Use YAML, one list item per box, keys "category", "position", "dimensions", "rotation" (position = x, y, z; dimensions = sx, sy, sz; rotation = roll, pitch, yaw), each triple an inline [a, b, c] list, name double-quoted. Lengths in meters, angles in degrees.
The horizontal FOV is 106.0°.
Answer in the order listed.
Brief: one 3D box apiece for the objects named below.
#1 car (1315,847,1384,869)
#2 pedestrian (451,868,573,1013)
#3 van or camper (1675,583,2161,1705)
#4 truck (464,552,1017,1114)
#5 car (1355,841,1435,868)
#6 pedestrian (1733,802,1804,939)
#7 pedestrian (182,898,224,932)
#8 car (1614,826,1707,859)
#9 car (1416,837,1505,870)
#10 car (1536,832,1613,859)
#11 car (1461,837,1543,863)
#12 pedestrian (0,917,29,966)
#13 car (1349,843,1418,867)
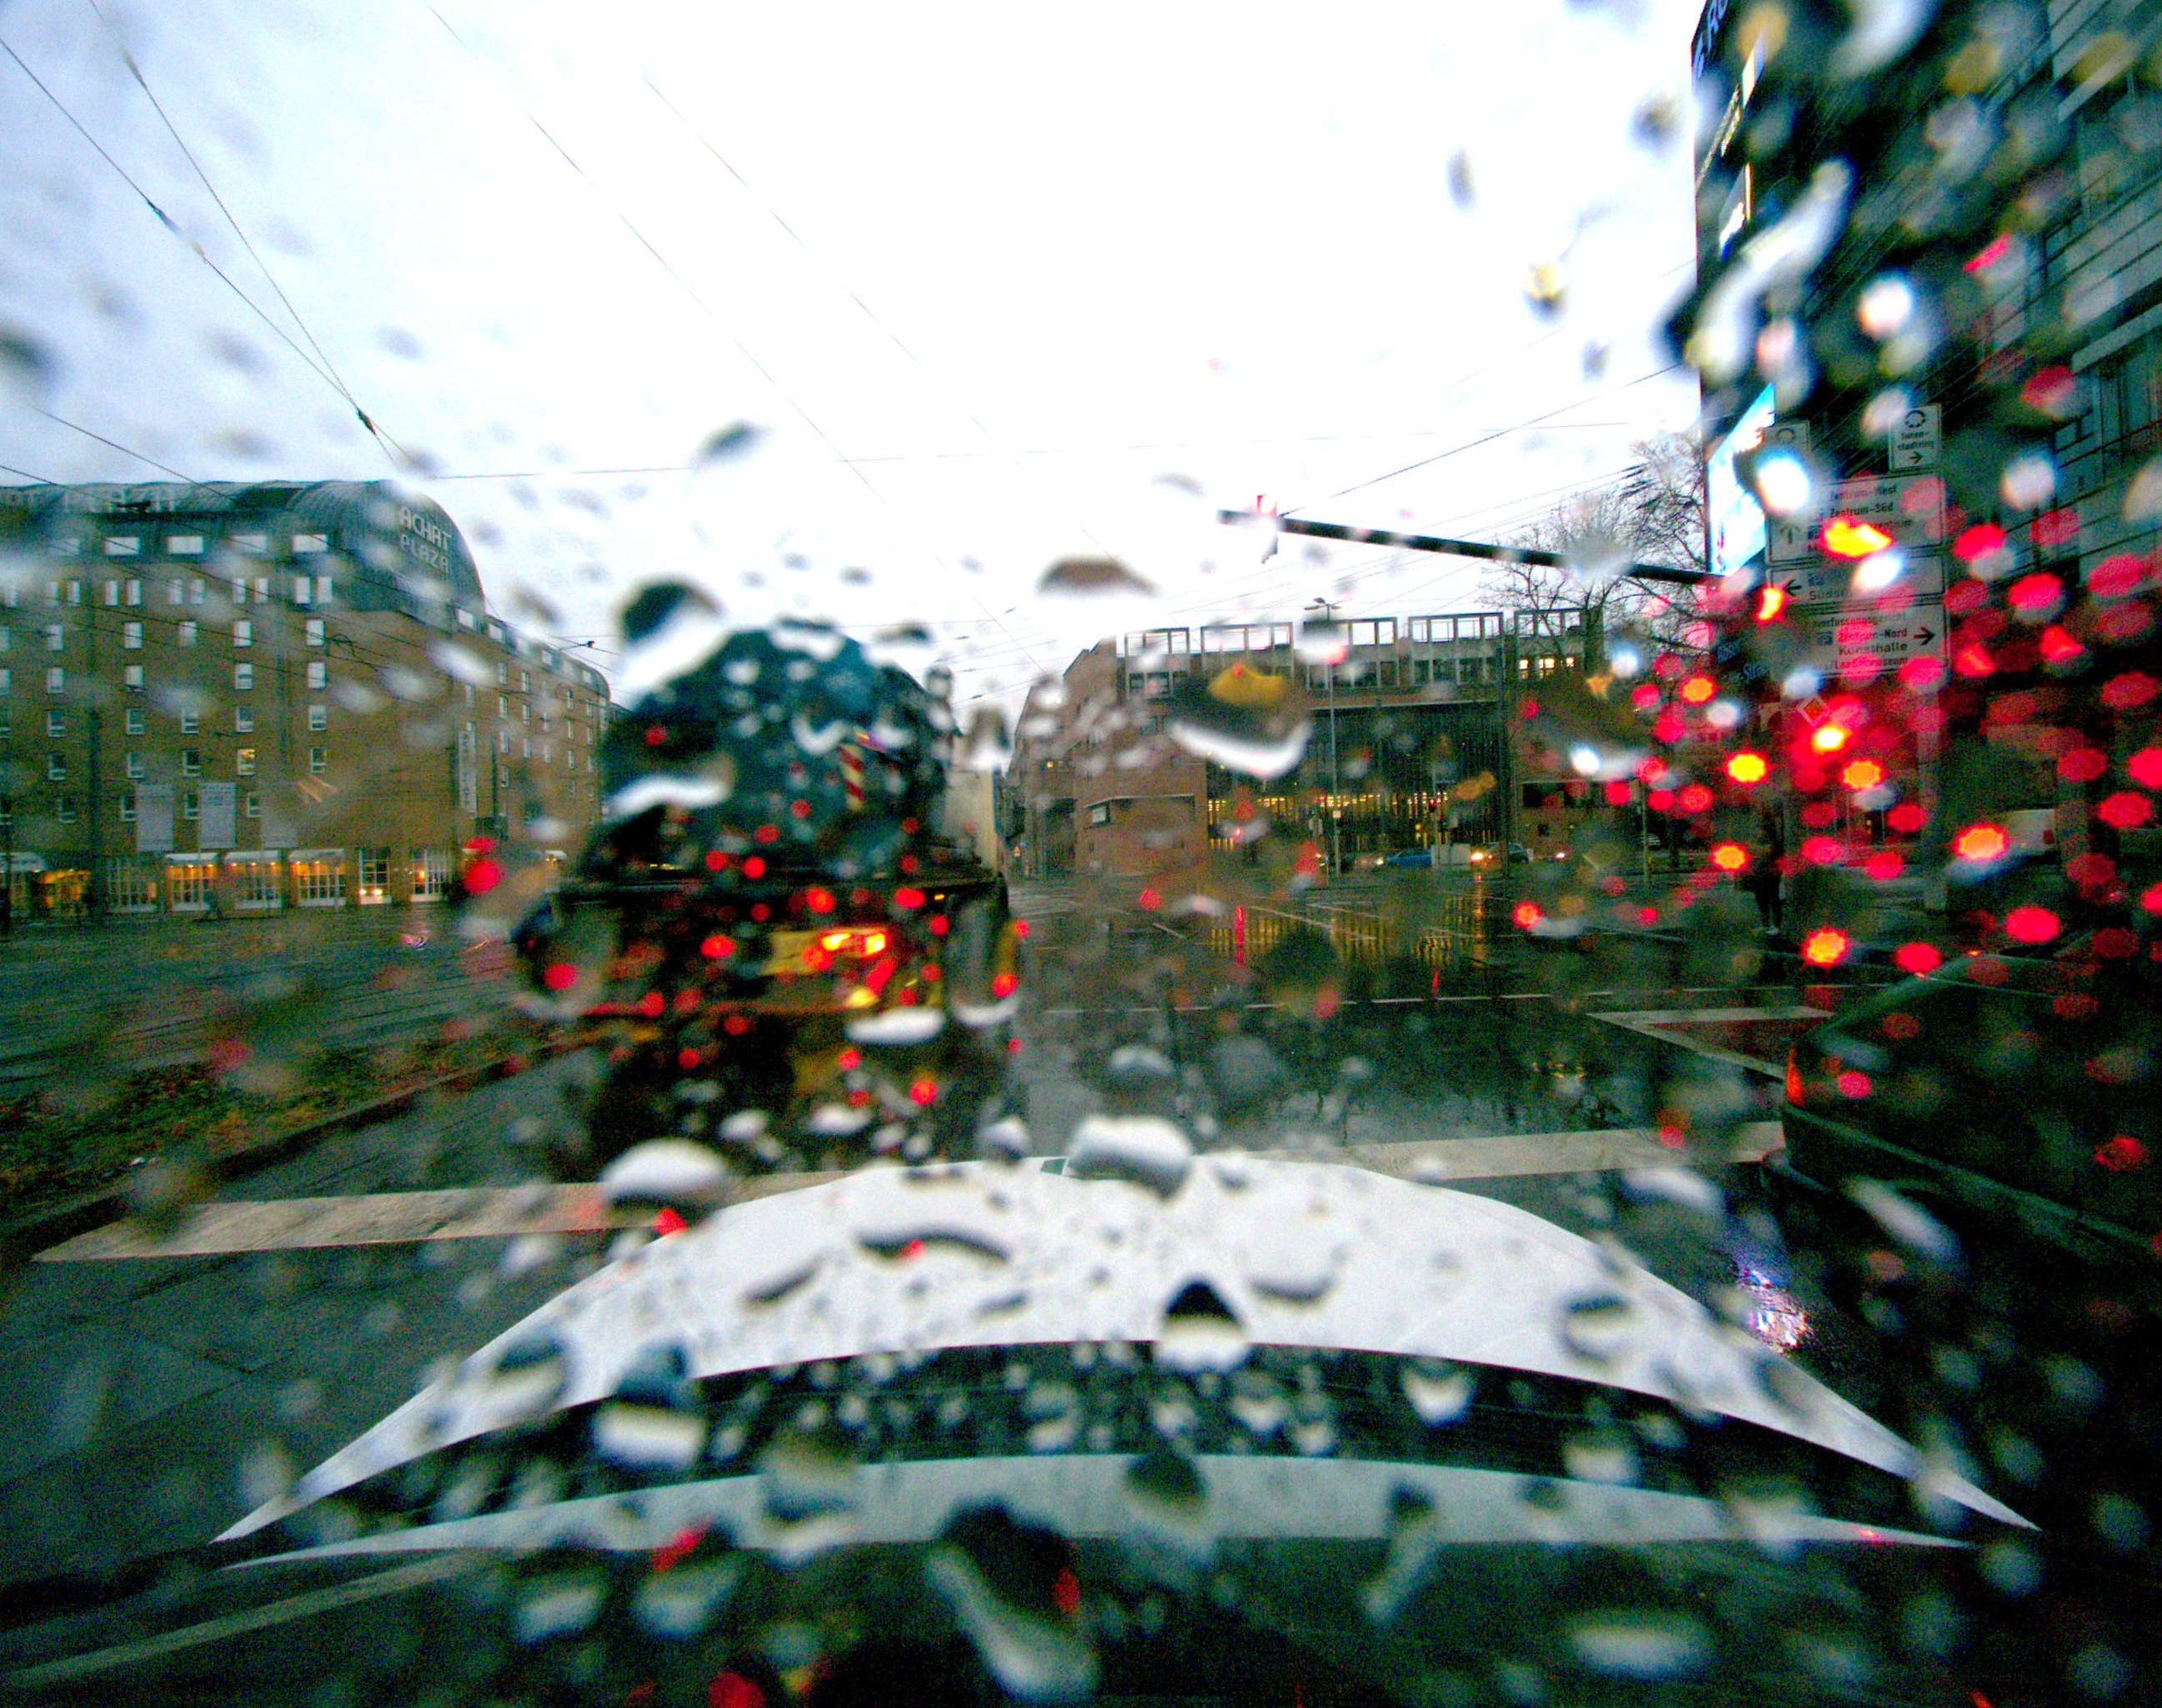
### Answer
- category: "car"
  position: [18.246, 0.290, 55.465]
  dimensions: [3.977, 1.310, 1.998]
  rotation: [-2, 0, -2]
- category: "pedestrian"
  position: [-6.917, 1.008, 9.906]
  dimensions: [0.707, 1.601, 1.043]
  rotation: [-5, -2, 45]
- category: "van or camper"
  position: [2.673, 0.487, 0.320]
  dimensions: [1.750, 1.906, 4.420]
  rotation: [-1, 0, 2]
- category: "truck"
  position: [-2.555, -0.137, 9.153]
  dimensions: [2.829, 3.633, 7.527]
  rotation: [-2, 0, 1]
- category: "car"
  position: [18.312, 0.013, 47.546]
  dimensions: [3.979, 1.263, 1.845]
  rotation: [-2, 4, -4]
- category: "pedestrian"
  position: [11.289, 0.261, 13.391]
  dimensions: [0.574, 2.184, 0.619]
  rotation: [-1, -1, -4]
- category: "pedestrian"
  position: [-46.413, 3.195, 43.052]
  dimensions: [1.164, 1.678, 0.893]
  rotation: [-2, -1, -17]
- category: "car"
  position: [32.247, -0.654, 45.350]
  dimensions: [3.979, 1.600, 1.845]
  rotation: [-2, 4, -4]
- category: "car"
  position: [20.433, -0.059, 43.913]
  dimensions: [3.979, 1.504, 1.845]
  rotation: [-2, 4, -4]
- category: "car"
  position: [32.159, -0.578, 53.094]
  dimensions: [3.979, 1.504, 1.845]
  rotation: [-2, 4, -4]
- category: "car"
  position: [24.819, -0.256, 48.099]
  dimensions: [3.979, 1.288, 1.845]
  rotation: [-2, 4, -4]
- category: "pedestrian"
  position: [-45.750, 3.720, 34.617]
  dimensions: [0.887, 2.010, 1.173]
  rotation: [-3, -1, 43]
- category: "car"
  position: [19.143, 0.057, 51.611]
  dimensions: [3.713, 1.263, 1.845]
  rotation: [-2, 4, -4]
